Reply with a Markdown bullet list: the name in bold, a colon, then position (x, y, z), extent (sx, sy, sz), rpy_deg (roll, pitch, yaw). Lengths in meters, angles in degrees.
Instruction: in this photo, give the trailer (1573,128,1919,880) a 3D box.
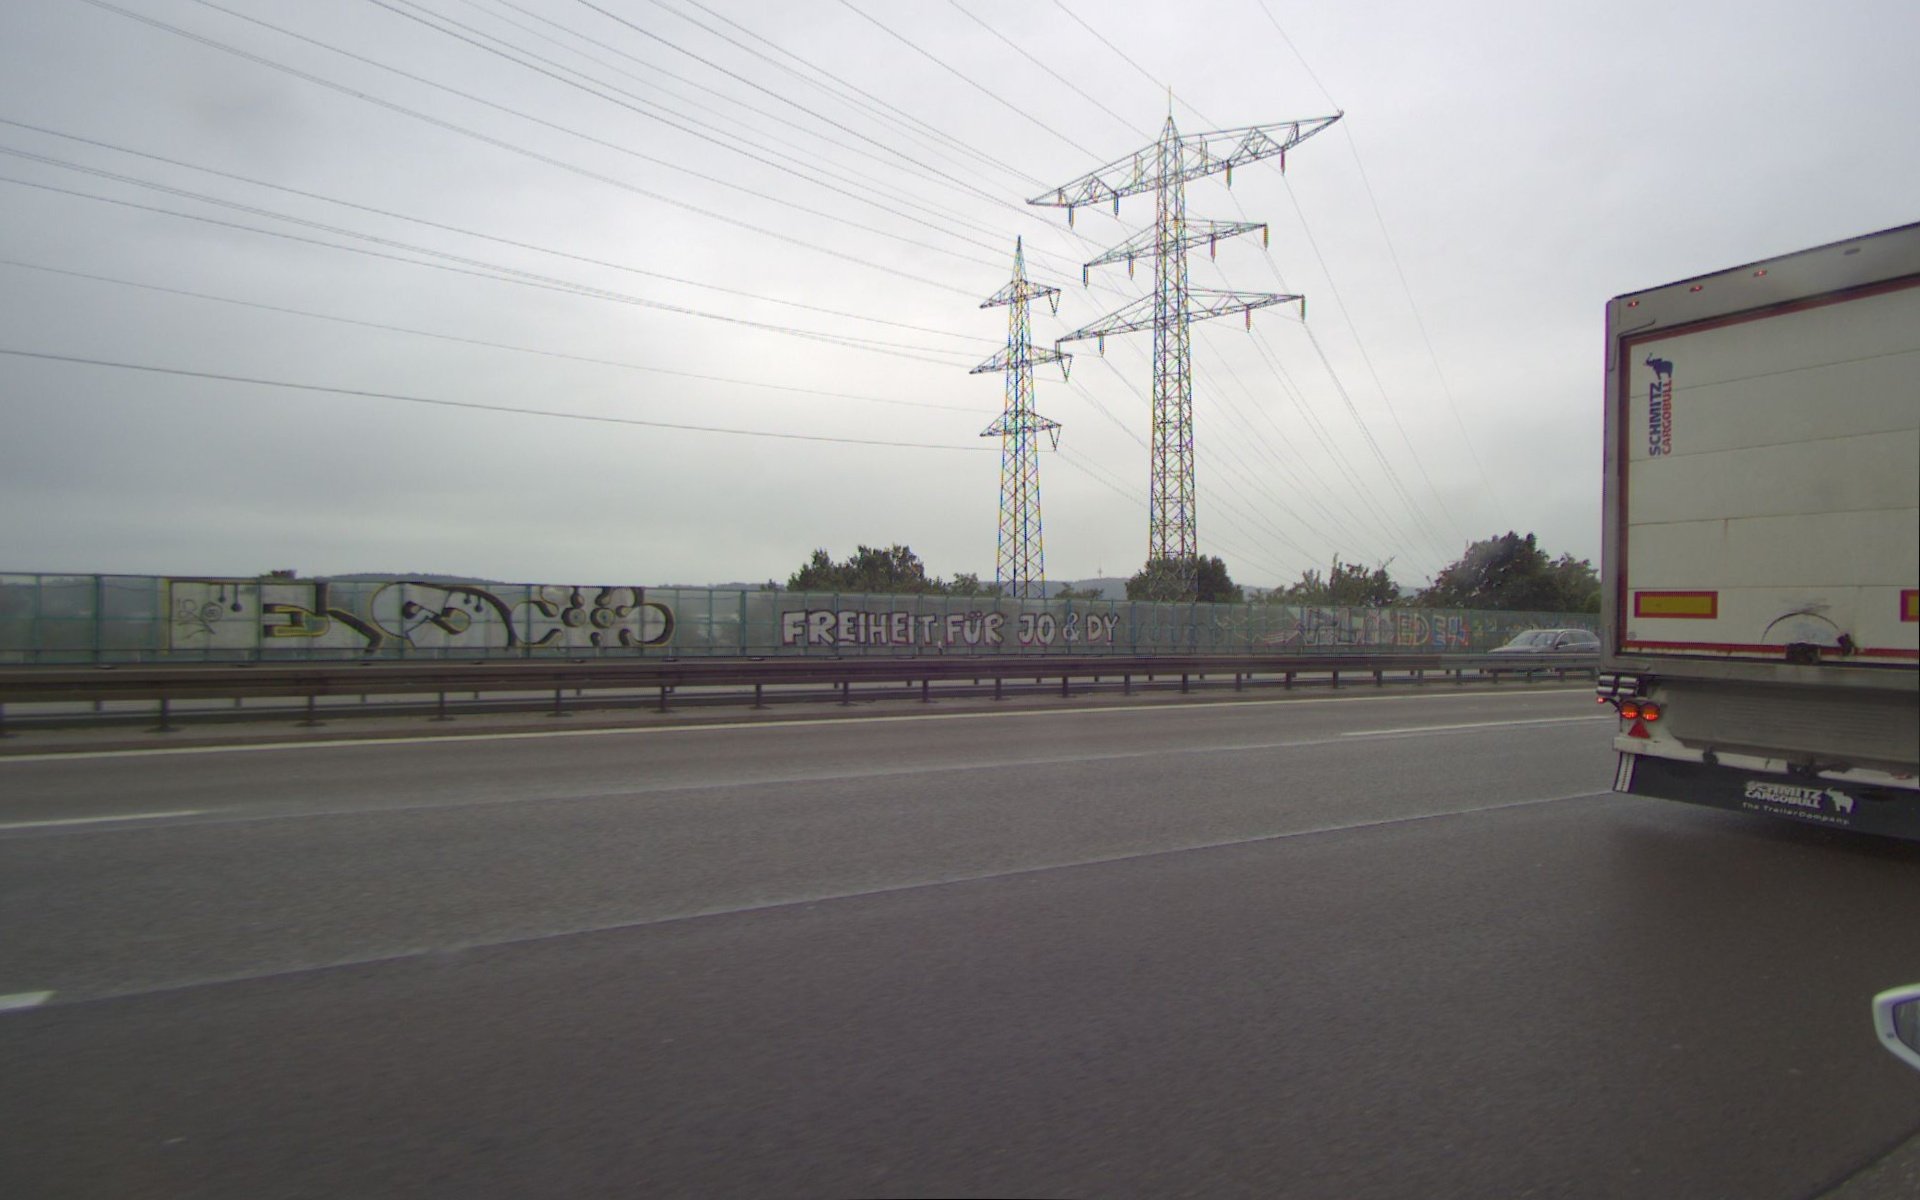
- **trailer**: position (11.365, -0.413, 9.917), extent (14.649, 4.212, 2.332), rpy_deg (1, -1, -30)
